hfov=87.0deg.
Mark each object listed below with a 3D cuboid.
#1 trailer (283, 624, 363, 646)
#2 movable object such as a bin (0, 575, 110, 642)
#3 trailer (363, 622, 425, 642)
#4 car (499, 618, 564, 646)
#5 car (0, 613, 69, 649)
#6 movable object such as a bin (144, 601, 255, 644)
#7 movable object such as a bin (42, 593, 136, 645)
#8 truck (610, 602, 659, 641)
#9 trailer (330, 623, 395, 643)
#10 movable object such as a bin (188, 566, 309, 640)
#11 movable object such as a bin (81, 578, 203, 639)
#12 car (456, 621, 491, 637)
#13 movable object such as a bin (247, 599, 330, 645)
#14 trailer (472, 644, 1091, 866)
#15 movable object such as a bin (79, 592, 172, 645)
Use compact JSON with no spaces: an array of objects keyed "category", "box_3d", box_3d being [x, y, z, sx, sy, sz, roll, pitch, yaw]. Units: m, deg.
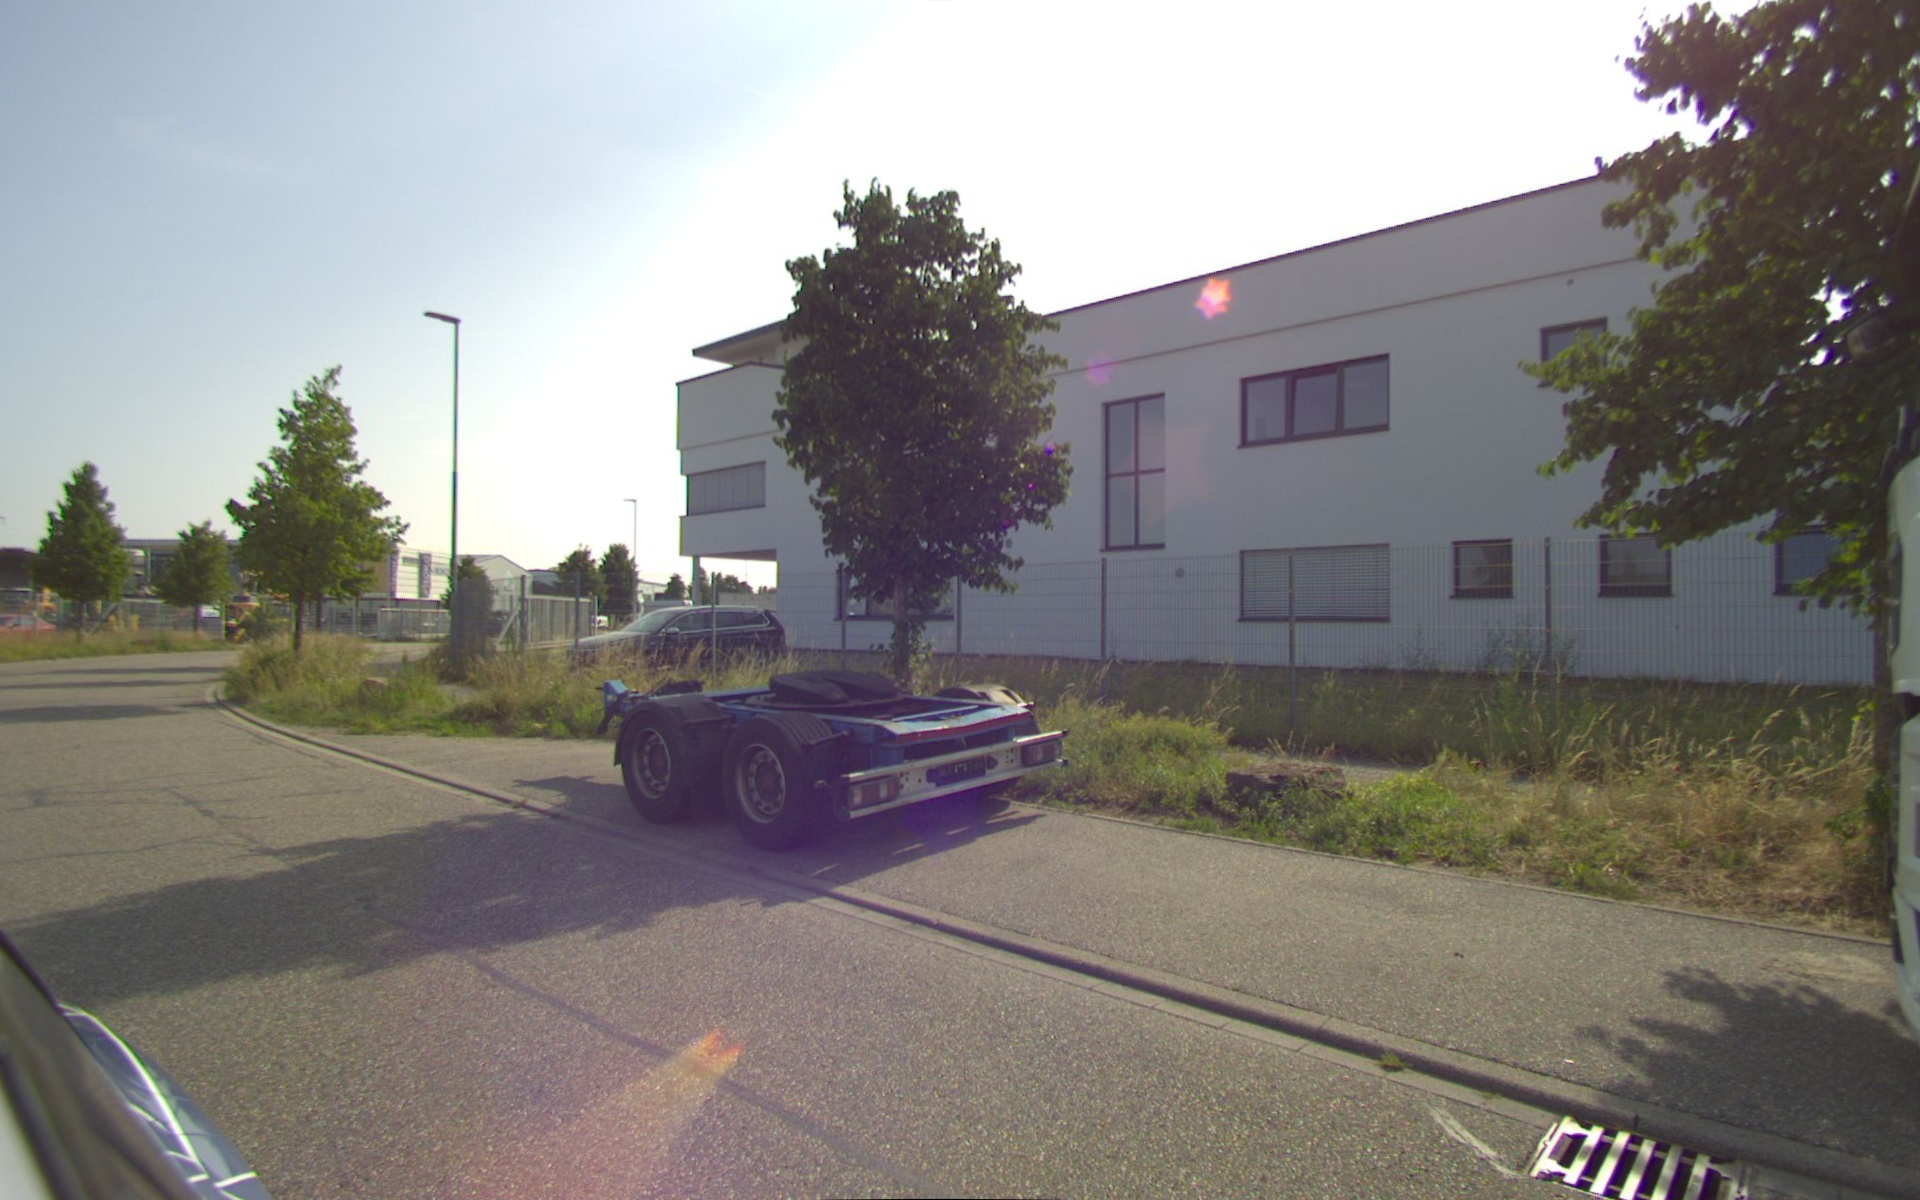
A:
[{"category":"trailer","box_3d":[-38.900,2.127,61.952,2.101,1.253,4.799,0,-1,-4]},{"category":"movable object such as a bin","box_3d":[-55.453,0.558,61.607,2.653,3.903,5.720,0,-1,-2]},{"category":"trailer","box_3d":[-39.999,2.247,71.667,1.971,1.320,4.565,0,0,-1]},{"category":"car","box_3d":[-24.614,1.824,58.330,1.971,1.478,4.434,-2,-1,-2]},{"category":"car","box_3d":[-37.497,1.218,39.358,1.857,1.368,4.779,0,-1,-6]},{"category":"movable object such as a bin","box_3d":[-46.494,1.377,62.037,2.889,2.510,5.340,0,-1,-2]},{"category":"movable object such as a bin","box_3d":[-52.666,1.149,61.289,1.970,3.055,4.374,0,-1,-2]},{"category":"truck","box_3d":[-35.727,2.421,111.448,2.714,4.046,9.692,2,-2,-3]},{"category":"trailer","box_3d":[-39.407,2.181,66.867,1.921,1.253,4.297,0,-1,-4]},{"category":"movable object such as a bin","box_3d":[-48.987,0.338,70.036,3.277,4.843,7.679,0,-2,-4]},{"category":"movable object such as a bin","box_3d":[-56.276,0.684,69.888,2.884,3.959,7.213,1,-2,-4]},{"category":"car","box_3d":[-49.079,2.878,102.196,1.865,1.568,4.378,0,-2,-7]},{"category":"movable object such as a bin","box_3d":[-41.772,1.379,63.121,1.865,2.773,5.161,0,-1,-2]},{"category":"trailer","box_3d":[-1.765,1.018,8.580,5.200,1.108,2.546,-1,0,42]},{"category":"movable object such as a bin","box_3d":[-50.359,1.125,61.221,1.970,3.055,4.493,0,-1,-2]}]
